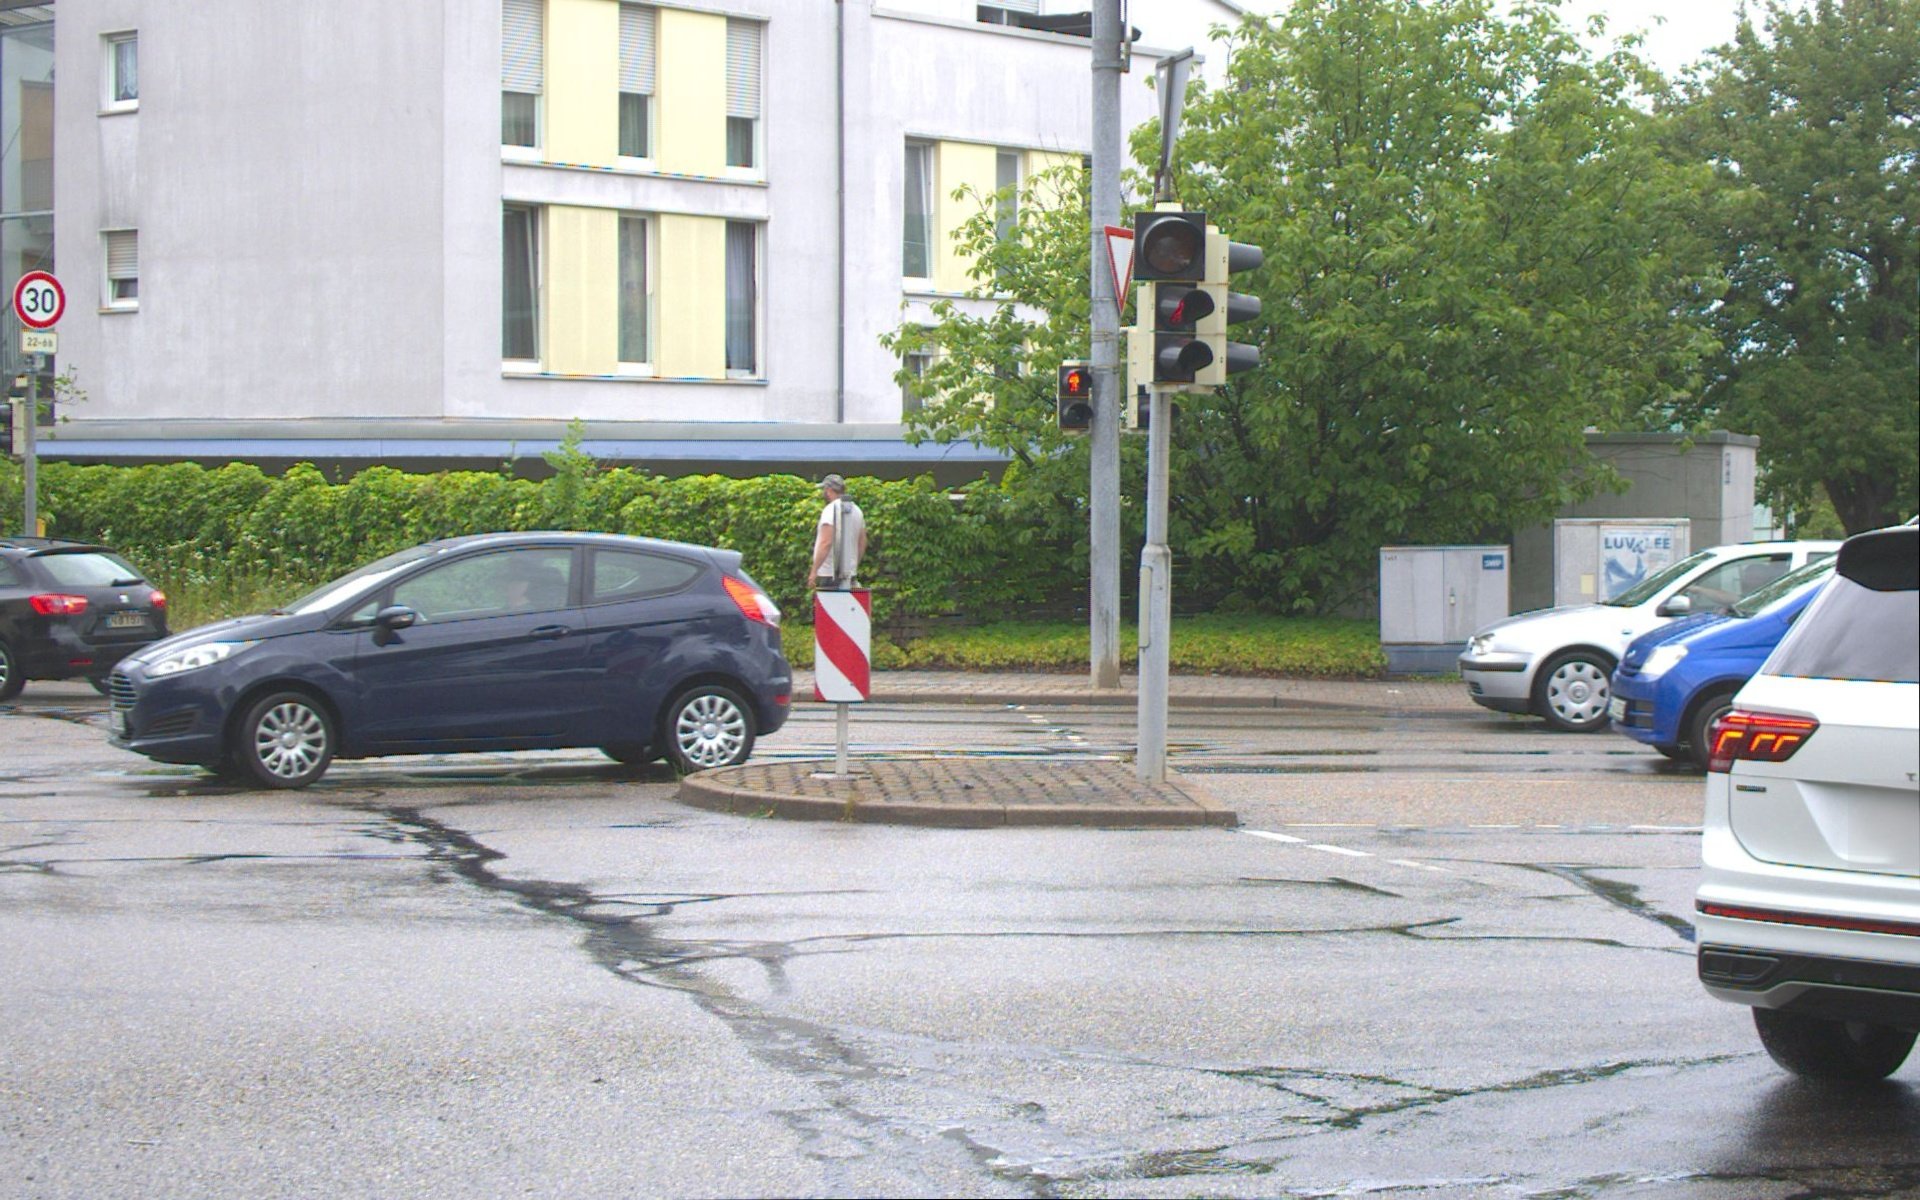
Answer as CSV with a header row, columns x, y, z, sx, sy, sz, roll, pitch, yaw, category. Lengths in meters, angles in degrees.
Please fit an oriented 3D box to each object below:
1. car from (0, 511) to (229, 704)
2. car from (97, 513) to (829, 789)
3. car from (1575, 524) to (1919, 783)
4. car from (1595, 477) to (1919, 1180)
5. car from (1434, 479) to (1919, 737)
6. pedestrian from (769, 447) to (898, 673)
x,y,z,sx,sy,sz,roll,pitch,yaw,category
-8.805,0.012,30.774,3.992,1.546,1.998,1,4,25,car
-2.973,0.273,20.370,3.986,1.495,1.926,0,2,-19,car
5.654,0.324,21.170,3.429,1.451,1.525,1,3,1,car
3.808,0.533,9.990,1.925,1.716,4.255,3,3,41,car
5.740,0.041,25.759,3.986,1.664,2.001,2,5,-2,car
-1.147,-0.381,31.209,0.801,2.006,0.848,2,3,37,pedestrian
